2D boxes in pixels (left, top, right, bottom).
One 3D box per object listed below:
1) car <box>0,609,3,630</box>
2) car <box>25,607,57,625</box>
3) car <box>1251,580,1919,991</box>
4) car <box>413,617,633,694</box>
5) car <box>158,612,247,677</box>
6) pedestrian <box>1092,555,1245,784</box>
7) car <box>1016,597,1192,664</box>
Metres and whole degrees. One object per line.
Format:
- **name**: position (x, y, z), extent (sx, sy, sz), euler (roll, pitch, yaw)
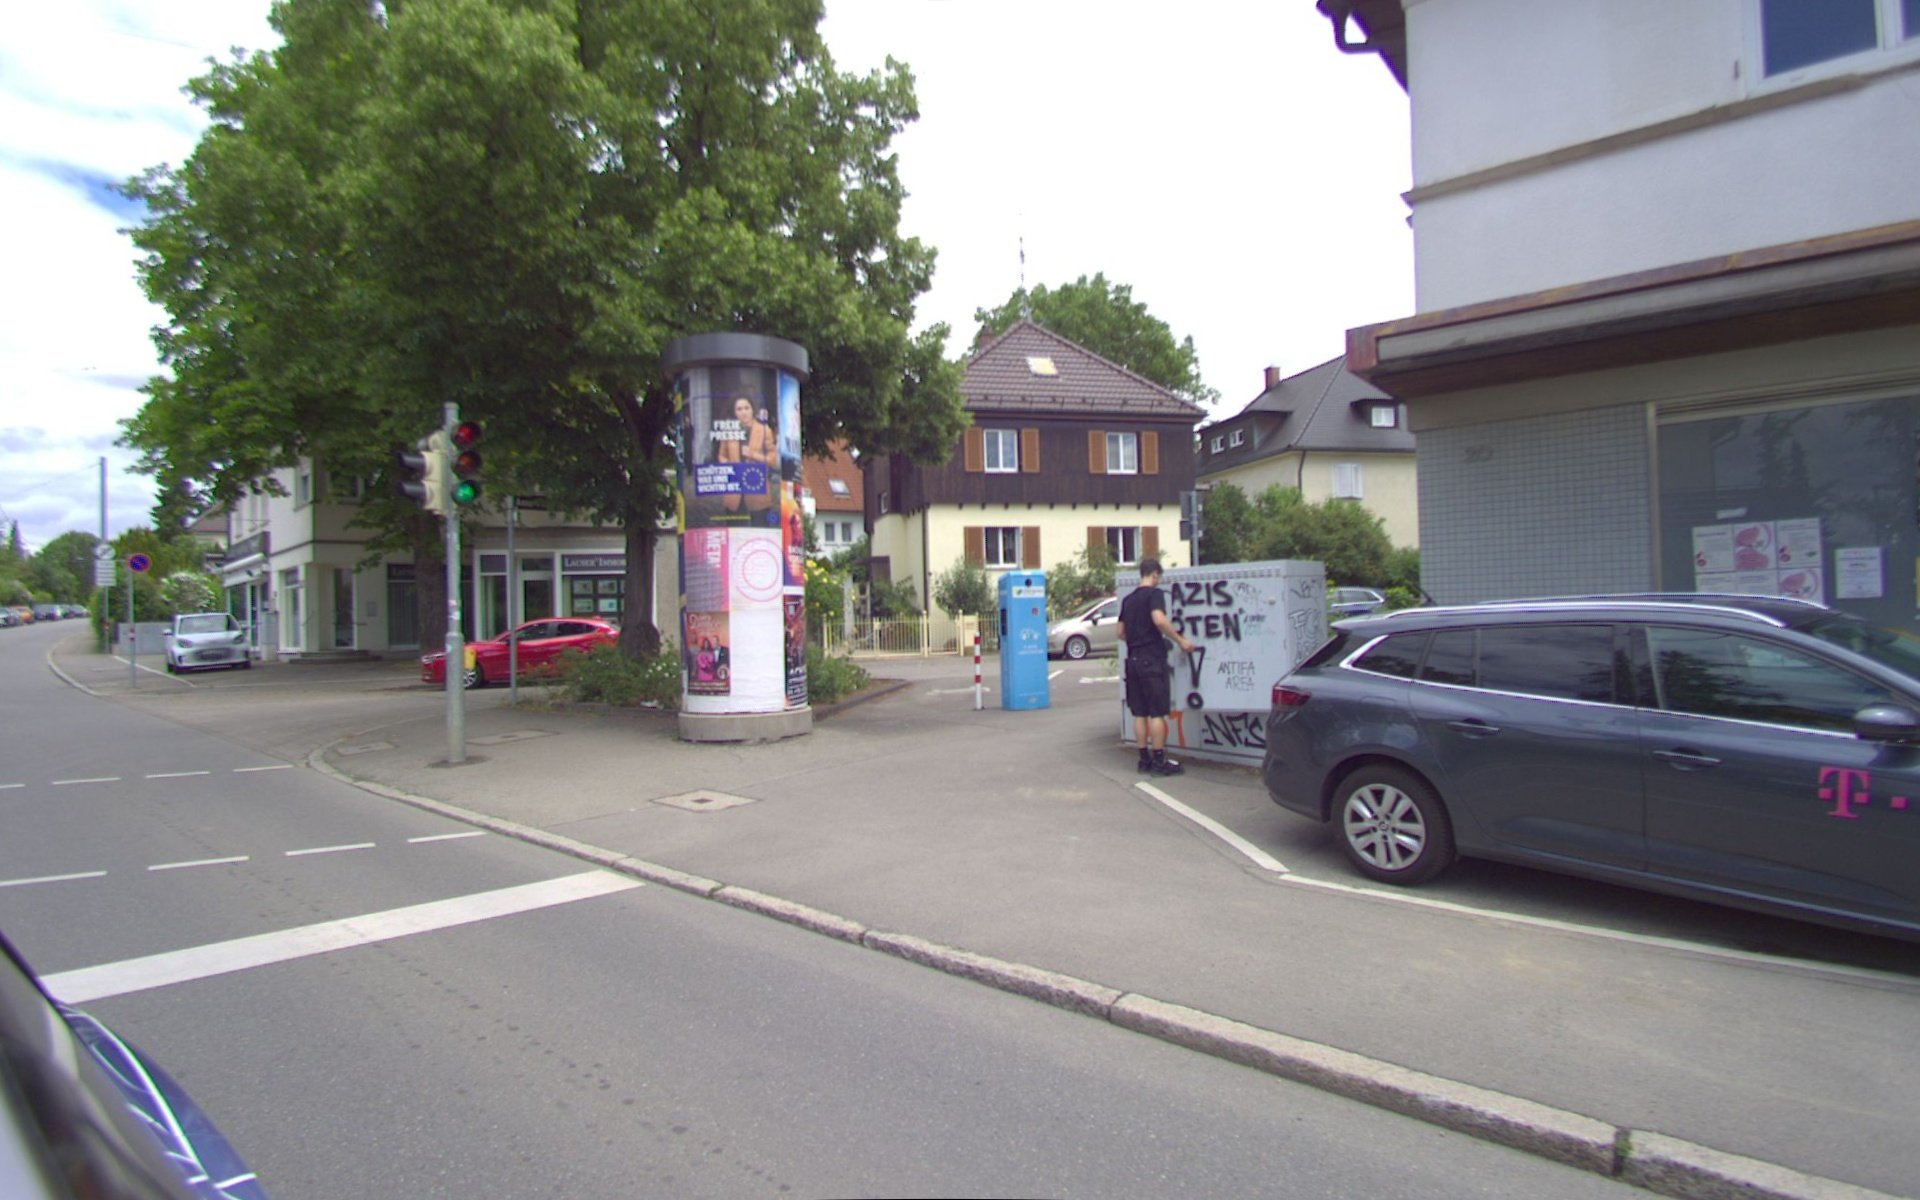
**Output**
- **car**: position (-75.233, 1.545, 77.812), extent (1.805, 1.635, 4.502), euler (-2, 1, -36)
- **car**: position (-90.279, 1.565, 99.445), extent (1.925, 1.639, 4.385), euler (-3, 2, -38)
- **car**: position (3.823, 0.674, 4.656), extent (1.757, 1.452, 4.533), euler (-3, 1, -40)
- **car**: position (-9.205, 1.166, 21.702), extent (4.161, 1.443, 1.822), euler (-1, -3, -17)
- **car**: position (-20.427, 1.148, 27.250), extent (1.570, 1.549, 2.927), euler (-4, 2, -42)
- **pedestrian**: position (1.702, 0.528, 8.291), extent (0.874, 1.731, 0.763), euler (-3, 1, -33)
- **car**: position (3.599, 0.768, 25.501), extent (3.912, 1.501, 1.837), euler (-2, -2, -15)
